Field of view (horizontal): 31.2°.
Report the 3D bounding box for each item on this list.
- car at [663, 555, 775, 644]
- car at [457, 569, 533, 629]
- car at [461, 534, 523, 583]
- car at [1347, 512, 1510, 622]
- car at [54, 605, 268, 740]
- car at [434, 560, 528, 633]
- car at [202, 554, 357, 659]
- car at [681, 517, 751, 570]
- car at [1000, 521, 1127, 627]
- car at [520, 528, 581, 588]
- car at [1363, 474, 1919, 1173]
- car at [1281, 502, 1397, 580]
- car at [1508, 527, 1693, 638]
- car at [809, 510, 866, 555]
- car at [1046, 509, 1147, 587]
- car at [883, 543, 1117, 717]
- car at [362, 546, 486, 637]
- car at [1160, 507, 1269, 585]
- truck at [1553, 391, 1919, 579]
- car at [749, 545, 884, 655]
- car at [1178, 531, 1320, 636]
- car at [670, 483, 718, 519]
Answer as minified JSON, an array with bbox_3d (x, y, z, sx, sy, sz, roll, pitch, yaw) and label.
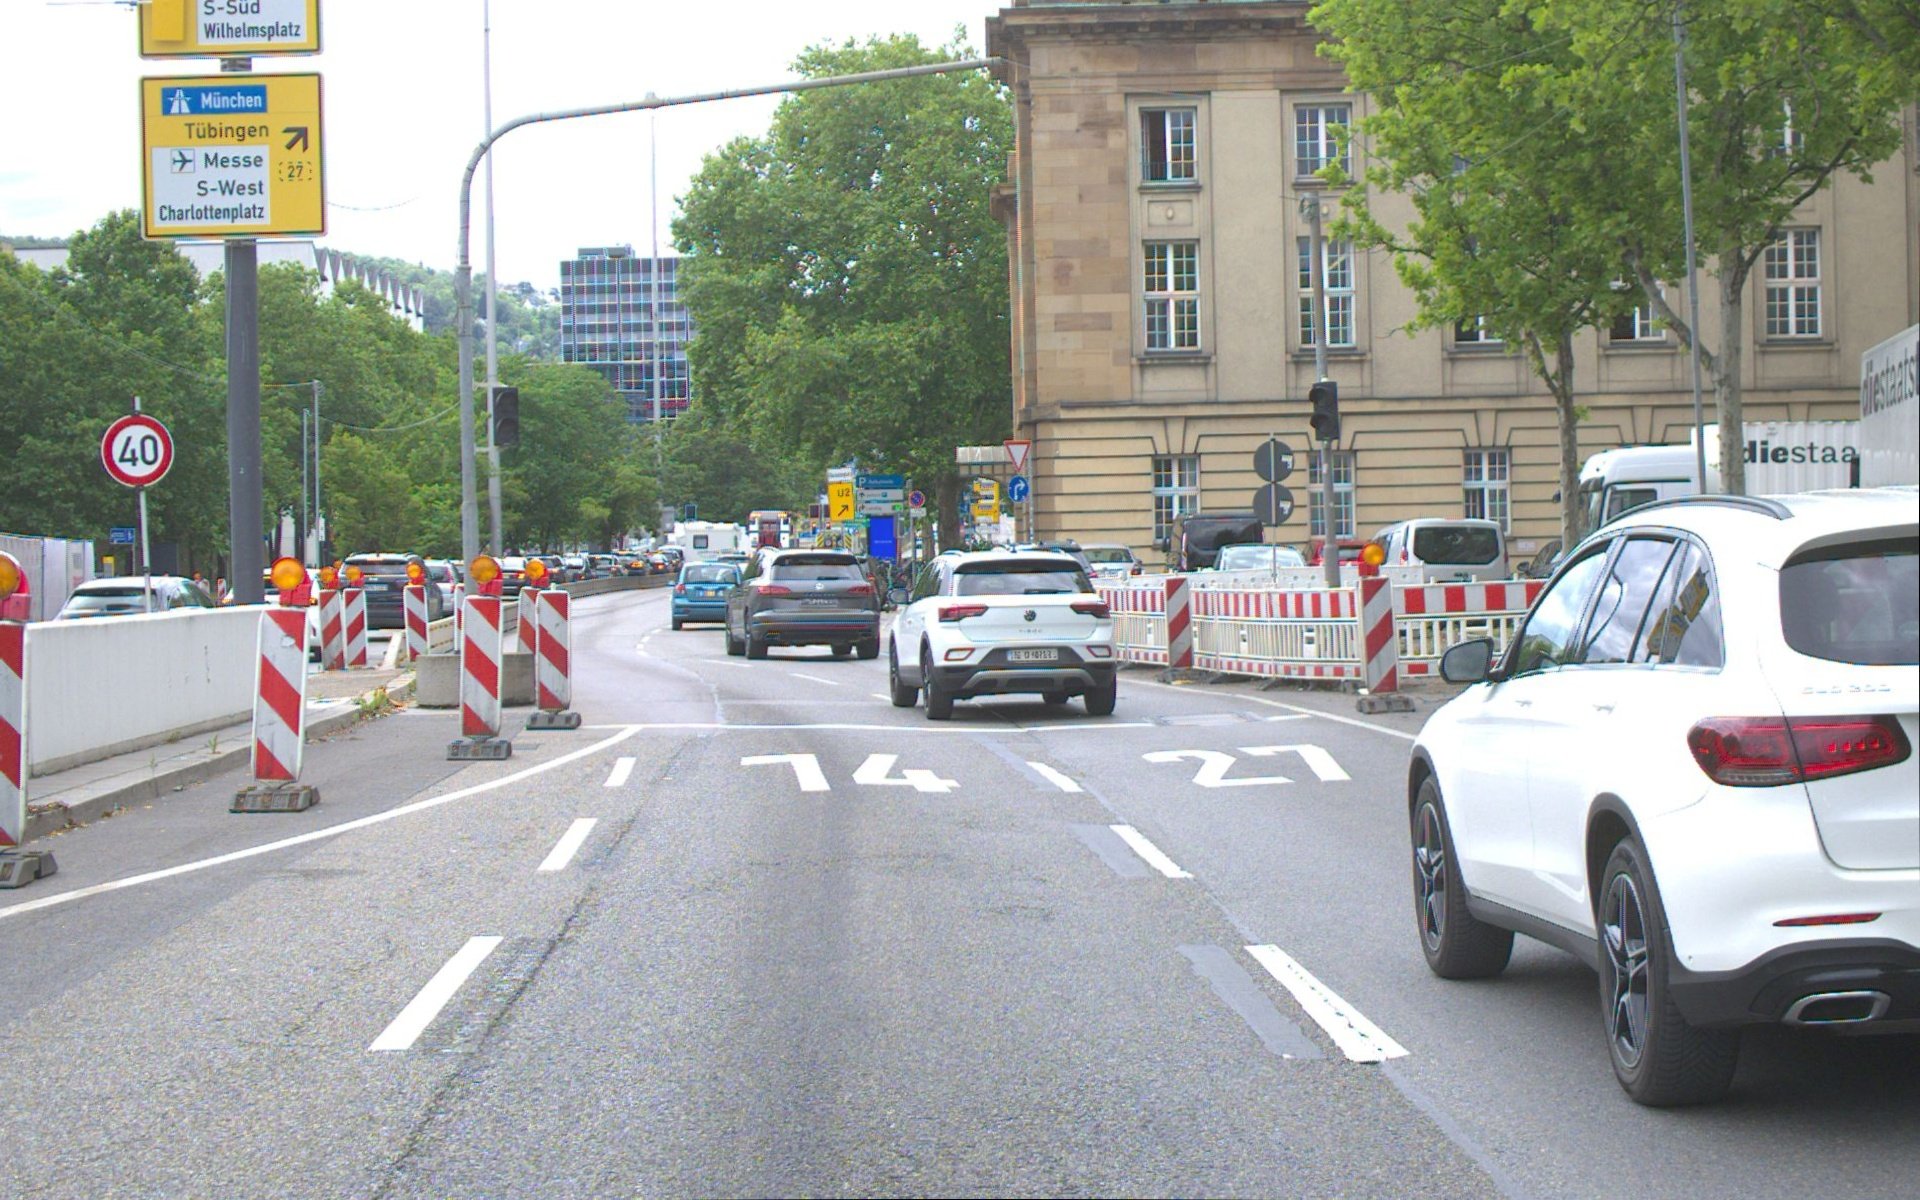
[{"bbox_3d":[-5.155,-0.038,74.155,1.823,1.734,4.479,-2,1,3],"label":"car"},{"bbox_3d":[-12.539,-0.048,92.934,1.750,1.562,4.332,-1,1,-4],"label":"car"},{"bbox_3d":[-15.575,-1.379,114.520,1.750,1.562,4.332,-1,1,-4],"label":"car"},{"bbox_3d":[6.967,-0.481,51.551,1.750,1.562,4.331,-1,0,-1],"label":"car"},{"bbox_3d":[-10.219,0.888,44.270,1.750,1.562,4.331,-1,1,0],"label":"car"},{"bbox_3d":[-10.712,-0.100,77.144,1.750,1.562,4.332,-1,1,-4],"label":"car"},{"bbox_3d":[-10.582,0.072,53.640,1.750,1.562,3.377,0,1,0],"label":"car"},{"bbox_3d":[-11.549,-2.697,163.269,2.582,2.366,5.526,-2,1,3],"label":"car"},{"bbox_3d":[1.571,-0.395,53.513,1.750,1.562,4.331,-1,0,-1],"label":"car"},{"bbox_3d":[-15.041,-1.561,126.403,1.993,2.006,4.001,-2,3,-4],"label":"car"},{"bbox_3d":[2.556,0.466,10.667,1.811,1.637,4.553,-4,1,-2],"label":"car"},{"bbox_3d":[7.976,-1.218,72.669,1.856,1.562,4.331,-1,0,-1],"label":"car"},{"bbox_3d":[9.523,-0.262,51.393,1.856,1.562,4.331,-1,0,-1],"label":"car"},{"bbox_3d":[-6.668,-3.726,188.289,2.582,2.366,5.526,-2,1,3],"label":"car"},{"bbox_3d":[2.833,-1.059,72.238,1.856,1.562,4.331,-1,0,-1],"label":"car"},{"bbox_3d":[0.320,0.267,33.575,1.750,1.562,4.332,-1,0,-6],"label":"car"},{"bbox_3d":[-10.120,-0.184,65.082,1.750,1.562,3.377,-4,1,0],"label":"car"},{"bbox_3d":[5.303,-1.110,71.995,1.856,1.562,4.331,-1,0,-1],"label":"car"},{"bbox_3d":[15.537,-2.006,59.502,10.029,3.040,2.569,-1,0,0],"label":"truck"},{"bbox_3d":[-2.227,-0.041,52.270,1.823,1.562,4.481,1,1,-5],"label":"car"},{"bbox_3d":[4.488,-0.259,53.953,1.750,1.562,4.331,-1,0,-1],"label":"car"},{"bbox_3d":[-18.386,-6.856,237.694,2.582,2.366,5.526,-2,1,3],"label":"car"}]
